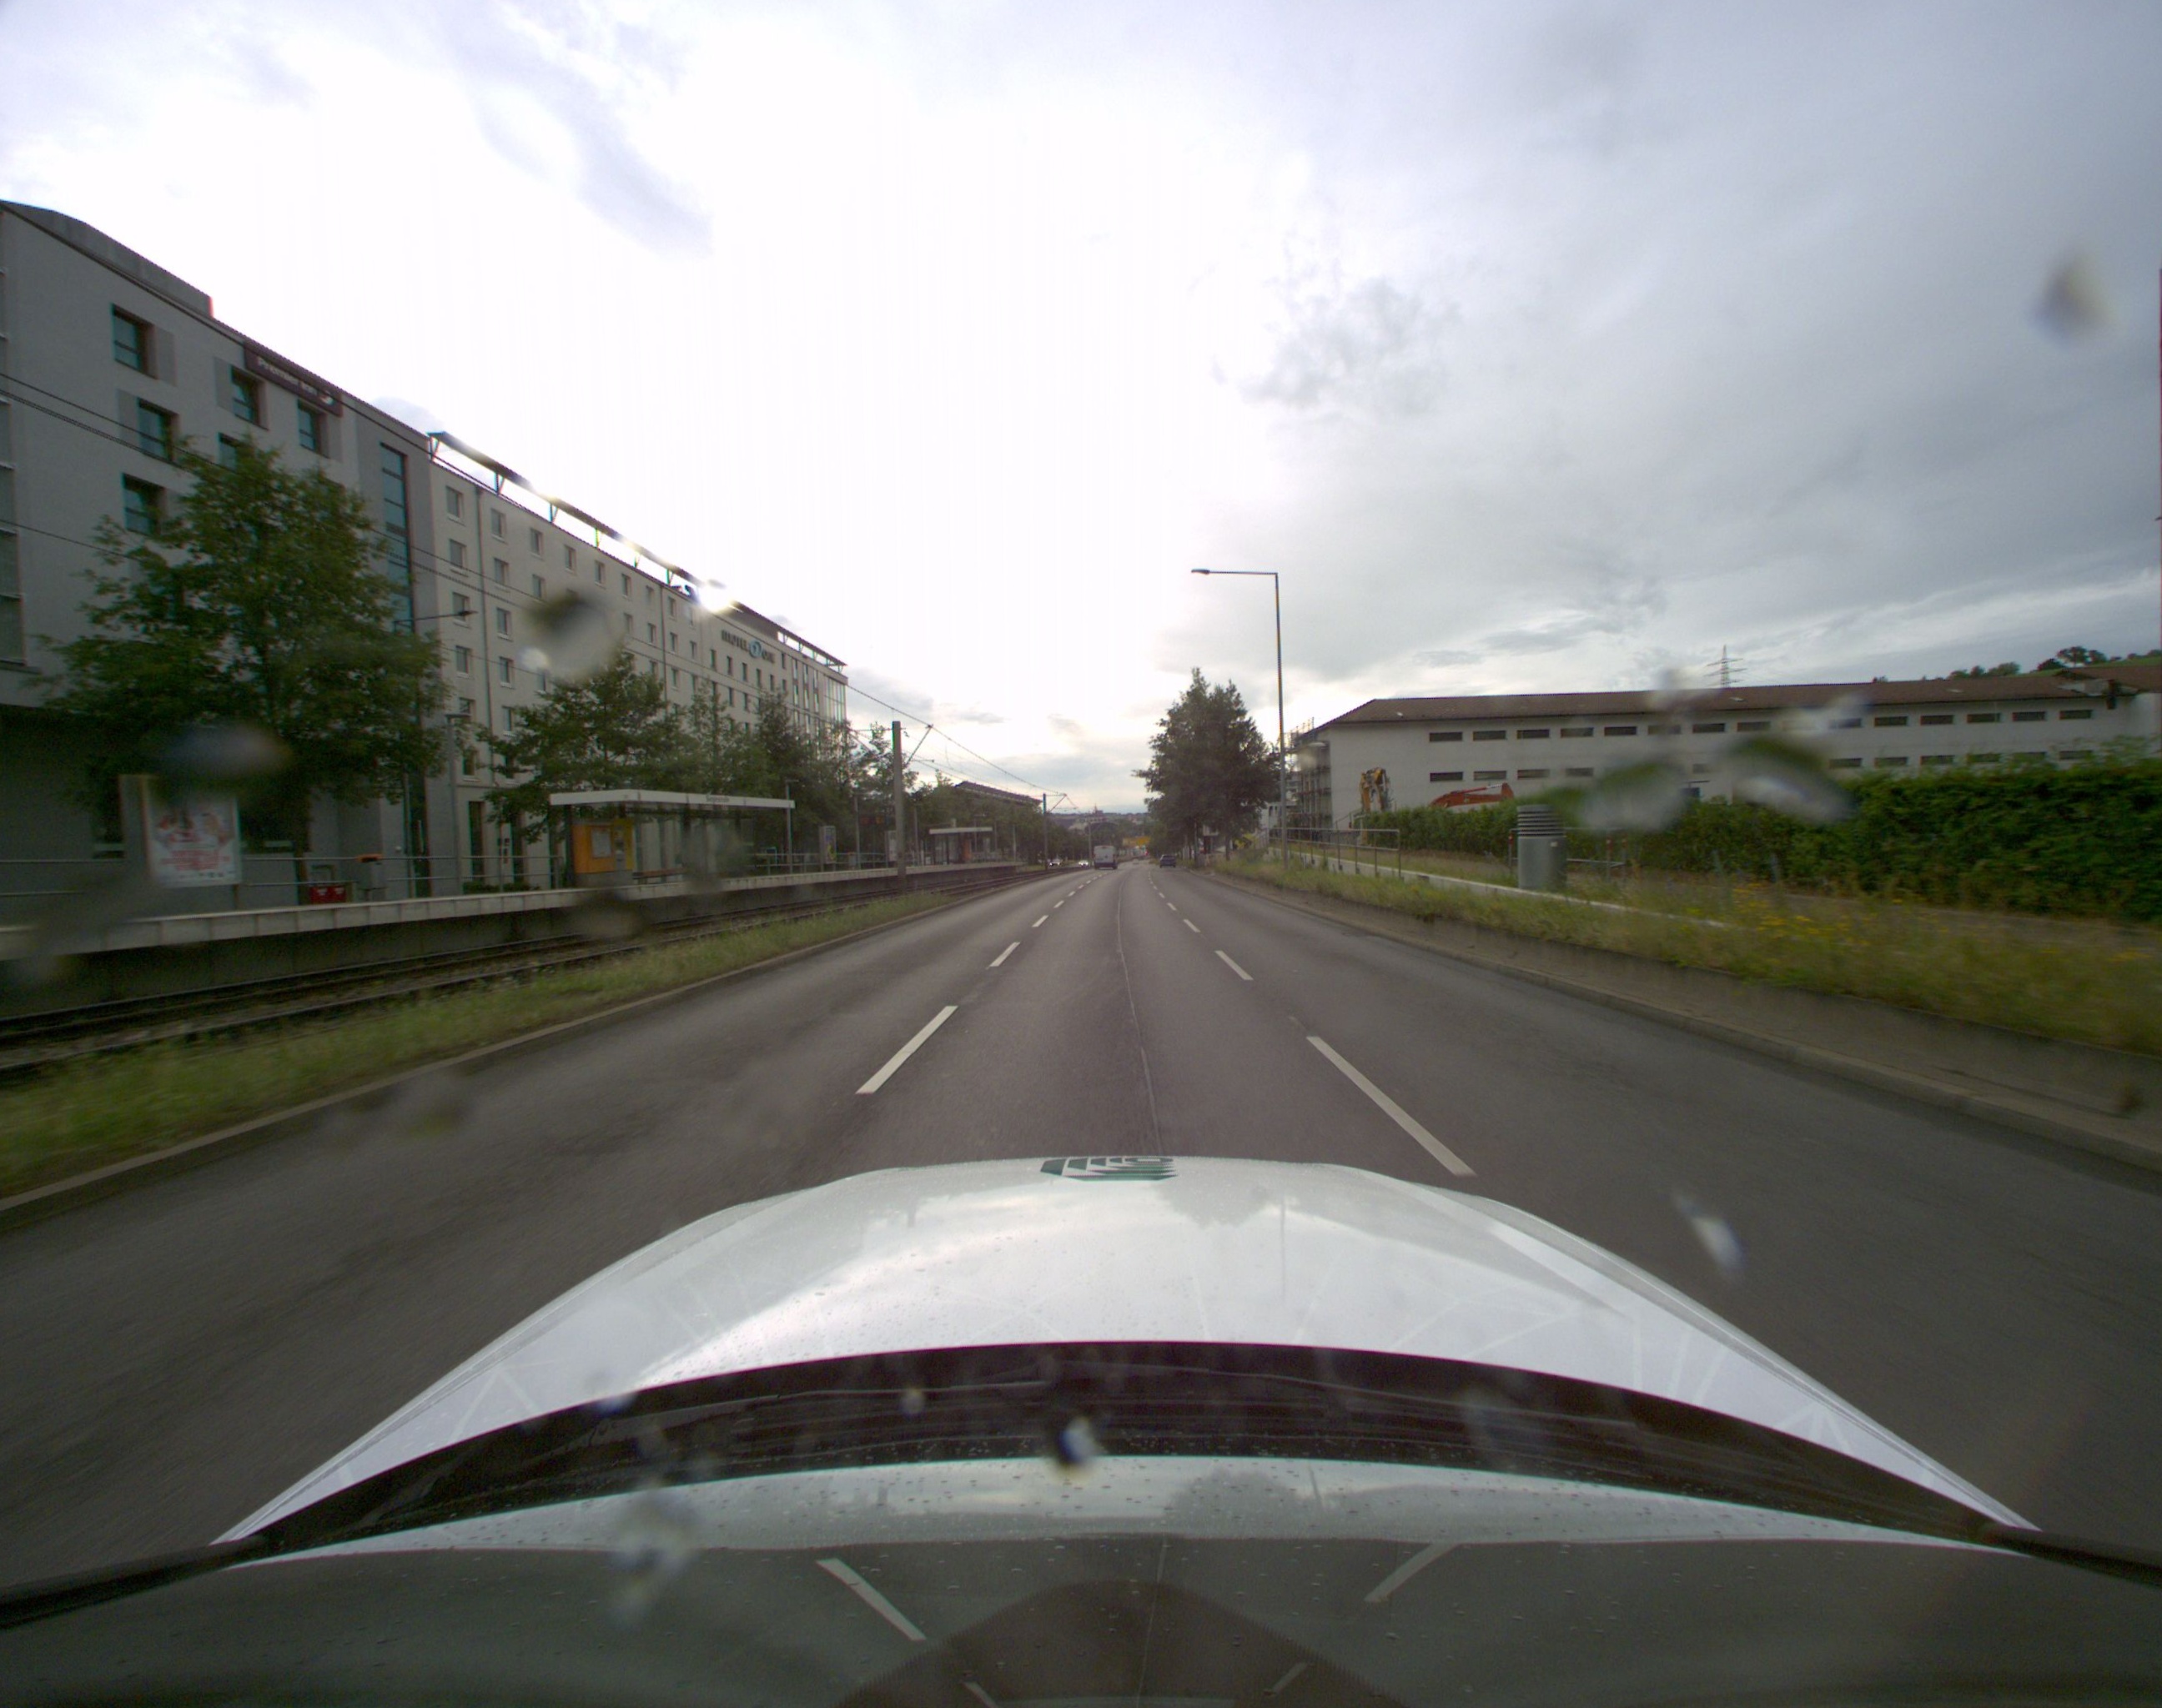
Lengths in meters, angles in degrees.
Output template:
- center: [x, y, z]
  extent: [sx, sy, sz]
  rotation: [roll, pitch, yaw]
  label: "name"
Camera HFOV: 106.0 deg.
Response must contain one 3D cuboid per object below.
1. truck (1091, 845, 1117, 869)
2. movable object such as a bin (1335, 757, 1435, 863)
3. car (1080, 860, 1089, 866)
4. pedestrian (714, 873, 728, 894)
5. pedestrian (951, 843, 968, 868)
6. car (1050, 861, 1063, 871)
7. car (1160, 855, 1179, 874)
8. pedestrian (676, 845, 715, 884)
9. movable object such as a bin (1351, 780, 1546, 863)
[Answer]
- center: [2.303, 0.310, 80.316]
  extent: [2.350, 2.262, 5.309]
  rotation: [0, -1, 3]
  label: "truck"
- center: [17.574, -2.299, 47.893]
  extent: [3.274, 5.685, 8.775]
  rotation: [0, -1, 5]
  label: "movable object such as a bin"
- center: [1.014, 2.373, 213.165]
  extent: [1.828, 1.444, 4.435]
  rotation: [-3, -1, 5]
  label: "car"
- center: [-26.650, 2.181, 60.286]
  extent: [0.597, 1.578, 0.836]
  rotation: [0, -1, 4]
  label: "pedestrian"
- center: [-9.736, 0.135, 65.219]
  extent: [1.266, 2.014, 1.126]
  rotation: [0, -1, -9]
  label: "pedestrian"
- center: [-4.883, 2.351, 165.561]
  extent: [1.984, 1.847, 5.008]
  rotation: [-3, 0, 5]
  label: "car"
- center: [9.798, 1.166, 90.408]
  extent: [1.984, 2.014, 3.940]
  rotation: [0, -1, 5]
  label: "car"
- center: [-13.388, 0.357, 28.304]
  extent: [0.957, 1.300, 0.685]
  rotation: [-2, 0, 3]
  label: "pedestrian"
- center: [26.146, -2.215, 58.500]
  extent: [12.094, 5.261, 3.791]
  rotation: [-2, -1, 2]
  label: "movable object such as a bin"
